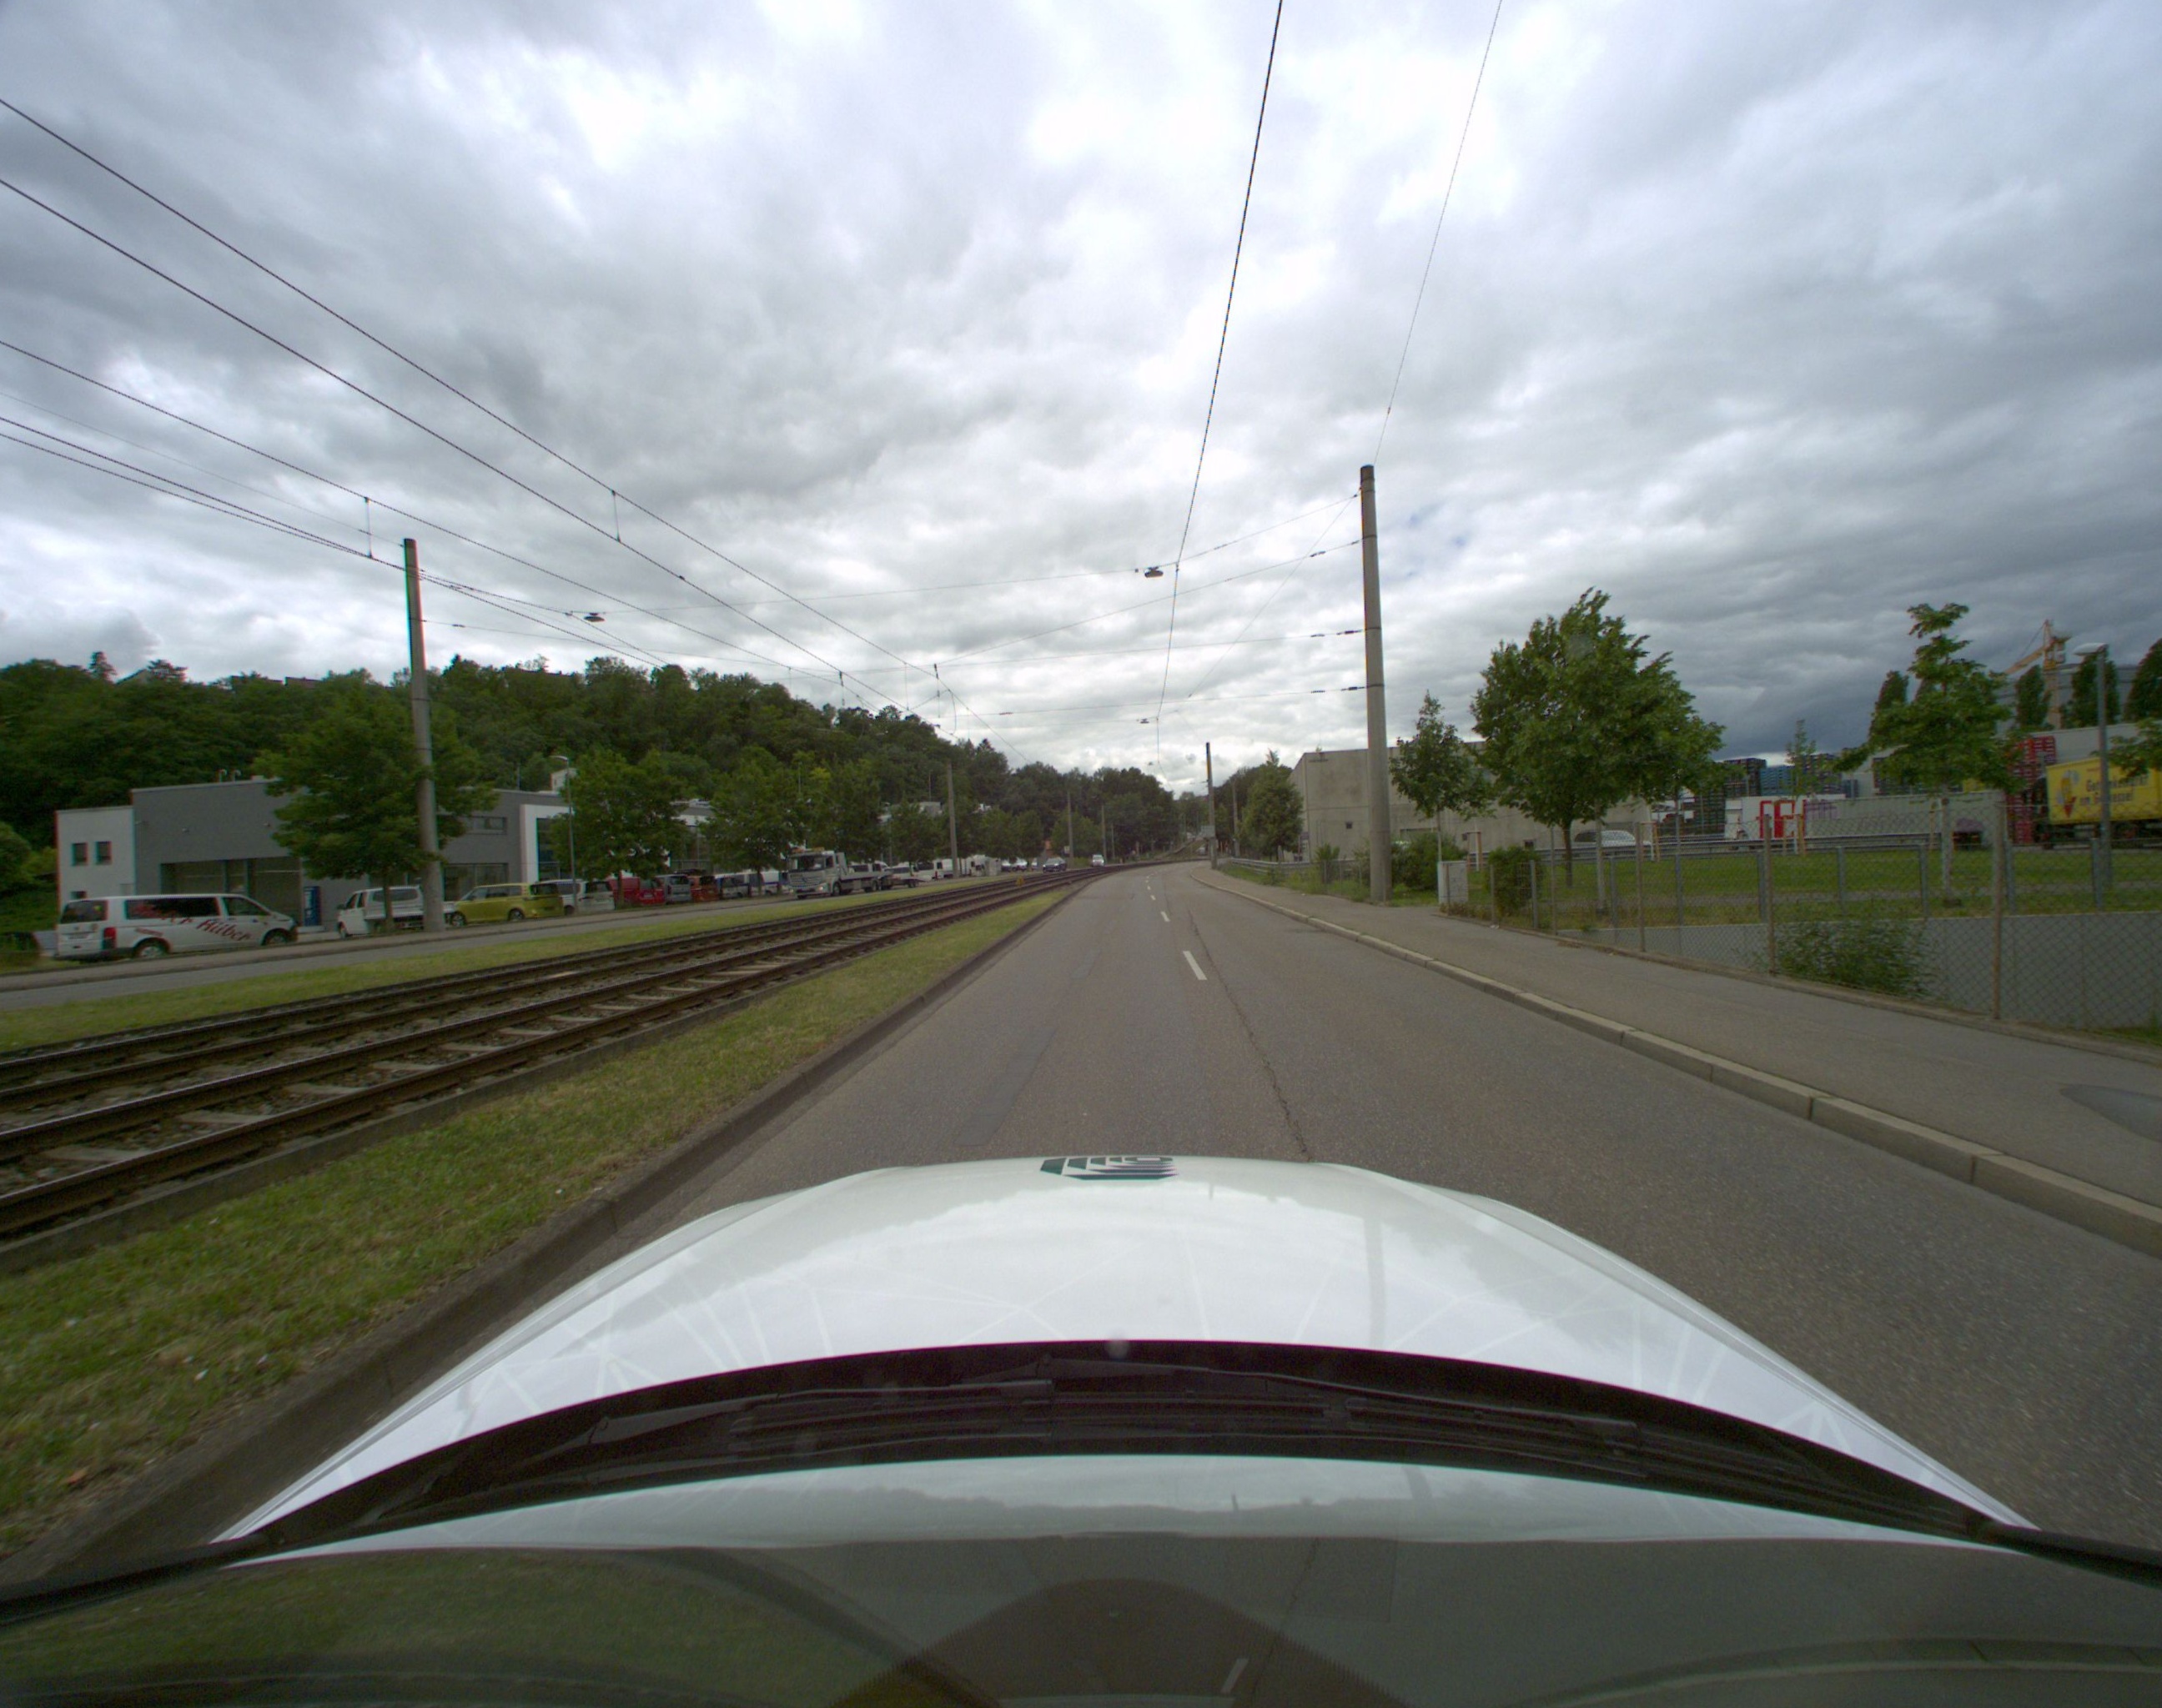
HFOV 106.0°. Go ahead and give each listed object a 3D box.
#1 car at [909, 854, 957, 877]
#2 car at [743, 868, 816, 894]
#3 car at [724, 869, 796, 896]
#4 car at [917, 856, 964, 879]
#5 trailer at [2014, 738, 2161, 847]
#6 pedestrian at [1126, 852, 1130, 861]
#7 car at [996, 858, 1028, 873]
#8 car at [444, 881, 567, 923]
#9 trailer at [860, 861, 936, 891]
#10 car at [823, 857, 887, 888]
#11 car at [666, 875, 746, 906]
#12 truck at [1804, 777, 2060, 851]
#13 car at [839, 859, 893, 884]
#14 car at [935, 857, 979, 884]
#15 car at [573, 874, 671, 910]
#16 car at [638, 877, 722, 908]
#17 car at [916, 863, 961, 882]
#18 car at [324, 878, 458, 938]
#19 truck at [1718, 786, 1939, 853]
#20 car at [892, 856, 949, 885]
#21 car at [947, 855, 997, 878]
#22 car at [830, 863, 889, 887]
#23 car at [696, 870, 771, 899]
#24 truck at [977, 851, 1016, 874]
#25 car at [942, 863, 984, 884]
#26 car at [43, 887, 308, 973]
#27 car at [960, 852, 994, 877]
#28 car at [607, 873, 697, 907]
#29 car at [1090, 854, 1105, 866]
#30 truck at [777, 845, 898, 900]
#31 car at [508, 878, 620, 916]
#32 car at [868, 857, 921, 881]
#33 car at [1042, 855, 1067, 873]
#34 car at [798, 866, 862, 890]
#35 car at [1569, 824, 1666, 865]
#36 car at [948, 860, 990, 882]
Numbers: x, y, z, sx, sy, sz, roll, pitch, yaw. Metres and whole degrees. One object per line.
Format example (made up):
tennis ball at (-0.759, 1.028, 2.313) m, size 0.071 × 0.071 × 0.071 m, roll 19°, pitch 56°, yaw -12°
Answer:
car at (-15.242, 1.206, 83.924) m, size 4.339 × 2.173 × 2.009 m, roll -3°, pitch 0°, yaw 9°
car at (-21.021, 1.880, 56.912) m, size 4.334 × 1.618 × 2.012 m, roll -3°, pitch 0°, yaw 14°
car at (-21.580, 1.895, 54.805) m, size 3.958 × 1.618 × 2.008 m, roll -3°, pitch 0°, yaw 14°
car at (-14.893, 1.423, 86.407) m, size 4.339 × 2.173 × 2.009 m, roll -3°, pitch 0°, yaw 9°
trailer at (43.054, -2.474, 33.634) m, size 2.881 × 3.962 × 10.088 m, roll -3°, pitch 0°, yaw 31°
pedestrian at (9.320, 0.493, 160.916) m, size 0.623 × 1.713 × 0.859 m, roll -1°, pitch 0°, yaw 16°
car at (-10.271, 1.686, 121.265) m, size 4.670 × 2.013 × 2.013 m, roll -3°, pitch -1°, yaw 40°
car at (-25.692, 2.147, 36.432) m, size 4.305 × 1.618 × 2.163 m, roll -3°, pitch 0°, yaw 14°
trailer at (-12.478, 1.459, 56.150) m, size 2.367 × 1.698 × 6.969 m, roll -5°, pitch -1°, yaw 11°
car at (-18.693, 1.538, 67.422) m, size 4.464 × 2.311 × 2.133 m, roll -3°, pitch 0°, yaw 14°
car at (-22.925, 2.226, 49.847) m, size 3.958 × 1.618 × 2.008 m, roll -3°, pitch 0°, yaw 14°
truck at (37.705, -1.693, 36.418) m, size 7.691 × 3.037 × 2.633 m, roll 0°, pitch -1°, yaw 14°
car at (-25.394, 2.074, 96.226) m, size 5.947 × 2.602 × 1.993 m, roll -2°, pitch 0°, yaw -17°
car at (-13.930, 1.892, 91.500) m, size 4.339 × 2.819 × 2.009 m, roll -3°, pitch 0°, yaw 9°
car at (-23.976, 1.973, 42.587) m, size 4.147 × 1.618 × 2.071 m, roll -3°, pitch 0°, yaw 14°
car at (-23.348, 2.234, 47.513) m, size 3.958 × 1.618 × 2.008 m, roll -3°, pitch 0°, yaw 14°
car at (-15.568, 2.032, 89.279) m, size 4.339 × 1.910 × 2.009 m, roll -3°, pitch 0°, yaw 9°
car at (-26.404, 2.067, 31.102) m, size 5.641 × 2.008 × 2.157 m, roll -3°, pitch -1°, yaw 31°
truck at (36.559, -1.622, 40.179) m, size 7.679 × 3.037 × 2.363 m, roll 0°, pitch -1°, yaw 21°
car at (-16.019, 1.651, 81.385) m, size 4.936 × 2.698 × 2.121 m, roll -3°, pitch 0°, yaw 9°
car at (-13.275, 1.493, 99.341) m, size 5.434 × 2.602 × 2.255 m, roll -3°, pitch 0°, yaw 13°
car at (-19.030, 1.820, 70.076) m, size 4.334 × 1.845 × 2.012 m, roll -3°, pitch 0°, yaw 14°
car at (-22.206, 1.930, 52.099) m, size 3.958 × 1.618 × 2.008 m, roll -3°, pitch 0°, yaw 14°
truck at (-12.381, 1.253, 119.283) m, size 5.863 × 3.085 × 2.133 m, roll -3°, pitch -1°, yaw 42°
car at (-13.589, 2.232, 93.862) m, size 4.339 × 2.105 × 2.009 m, roll -3°, pitch 0°, yaw 9°
car at (-26.210, 2.112, 23.902) m, size 1.982 × 2.014 × 4.872 m, roll -3°, pitch -1°, yaw 8°
car at (-13.337, 1.354, 104.559) m, size 2.092 × 3.019 × 5.961 m, roll -3°, pitch 0°, yaw 15°
car at (-23.842, 1.978, 45.305) m, size 3.958 × 1.664 × 2.056 m, roll -3°, pitch 0°, yaw 14°
car at (2.652, 1.031, 133.909) m, size 2.155 × 1.888 × 5.066 m, roll 0°, pitch 0°, yaw -3°
truck at (-14.077, 0.995, 48.221) m, size 2.739 × 2.741 × 9.246 m, roll -5°, pitch -1°, yaw 10°
car at (-25.078, 2.084, 39.564) m, size 4.313 × 1.618 × 2.128 m, roll -3°, pitch 0°, yaw 14°
car at (-17.728, 1.438, 77.462) m, size 4.339 × 2.010 × 2.009 m, roll -3°, pitch 0°, yaw 9°
car at (-2.888, 1.100, 89.314) m, size 1.983 × 1.739 × 4.543 m, roll -5°, pitch -1°, yaw 7°
car at (-19.947, 1.913, 64.847) m, size 4.339 × 1.688 × 2.037 m, roll -3°, pitch 0°, yaw 9°
car at (24.713, -0.421, 37.742) m, size 1.901 × 1.720 × 4.699 m, roll -3°, pitch 0°, yaw 8°
car at (-13.260, 1.984, 96.284) m, size 4.340 × 2.105 × 2.009 m, roll 6°, pitch 1°, yaw 9°
